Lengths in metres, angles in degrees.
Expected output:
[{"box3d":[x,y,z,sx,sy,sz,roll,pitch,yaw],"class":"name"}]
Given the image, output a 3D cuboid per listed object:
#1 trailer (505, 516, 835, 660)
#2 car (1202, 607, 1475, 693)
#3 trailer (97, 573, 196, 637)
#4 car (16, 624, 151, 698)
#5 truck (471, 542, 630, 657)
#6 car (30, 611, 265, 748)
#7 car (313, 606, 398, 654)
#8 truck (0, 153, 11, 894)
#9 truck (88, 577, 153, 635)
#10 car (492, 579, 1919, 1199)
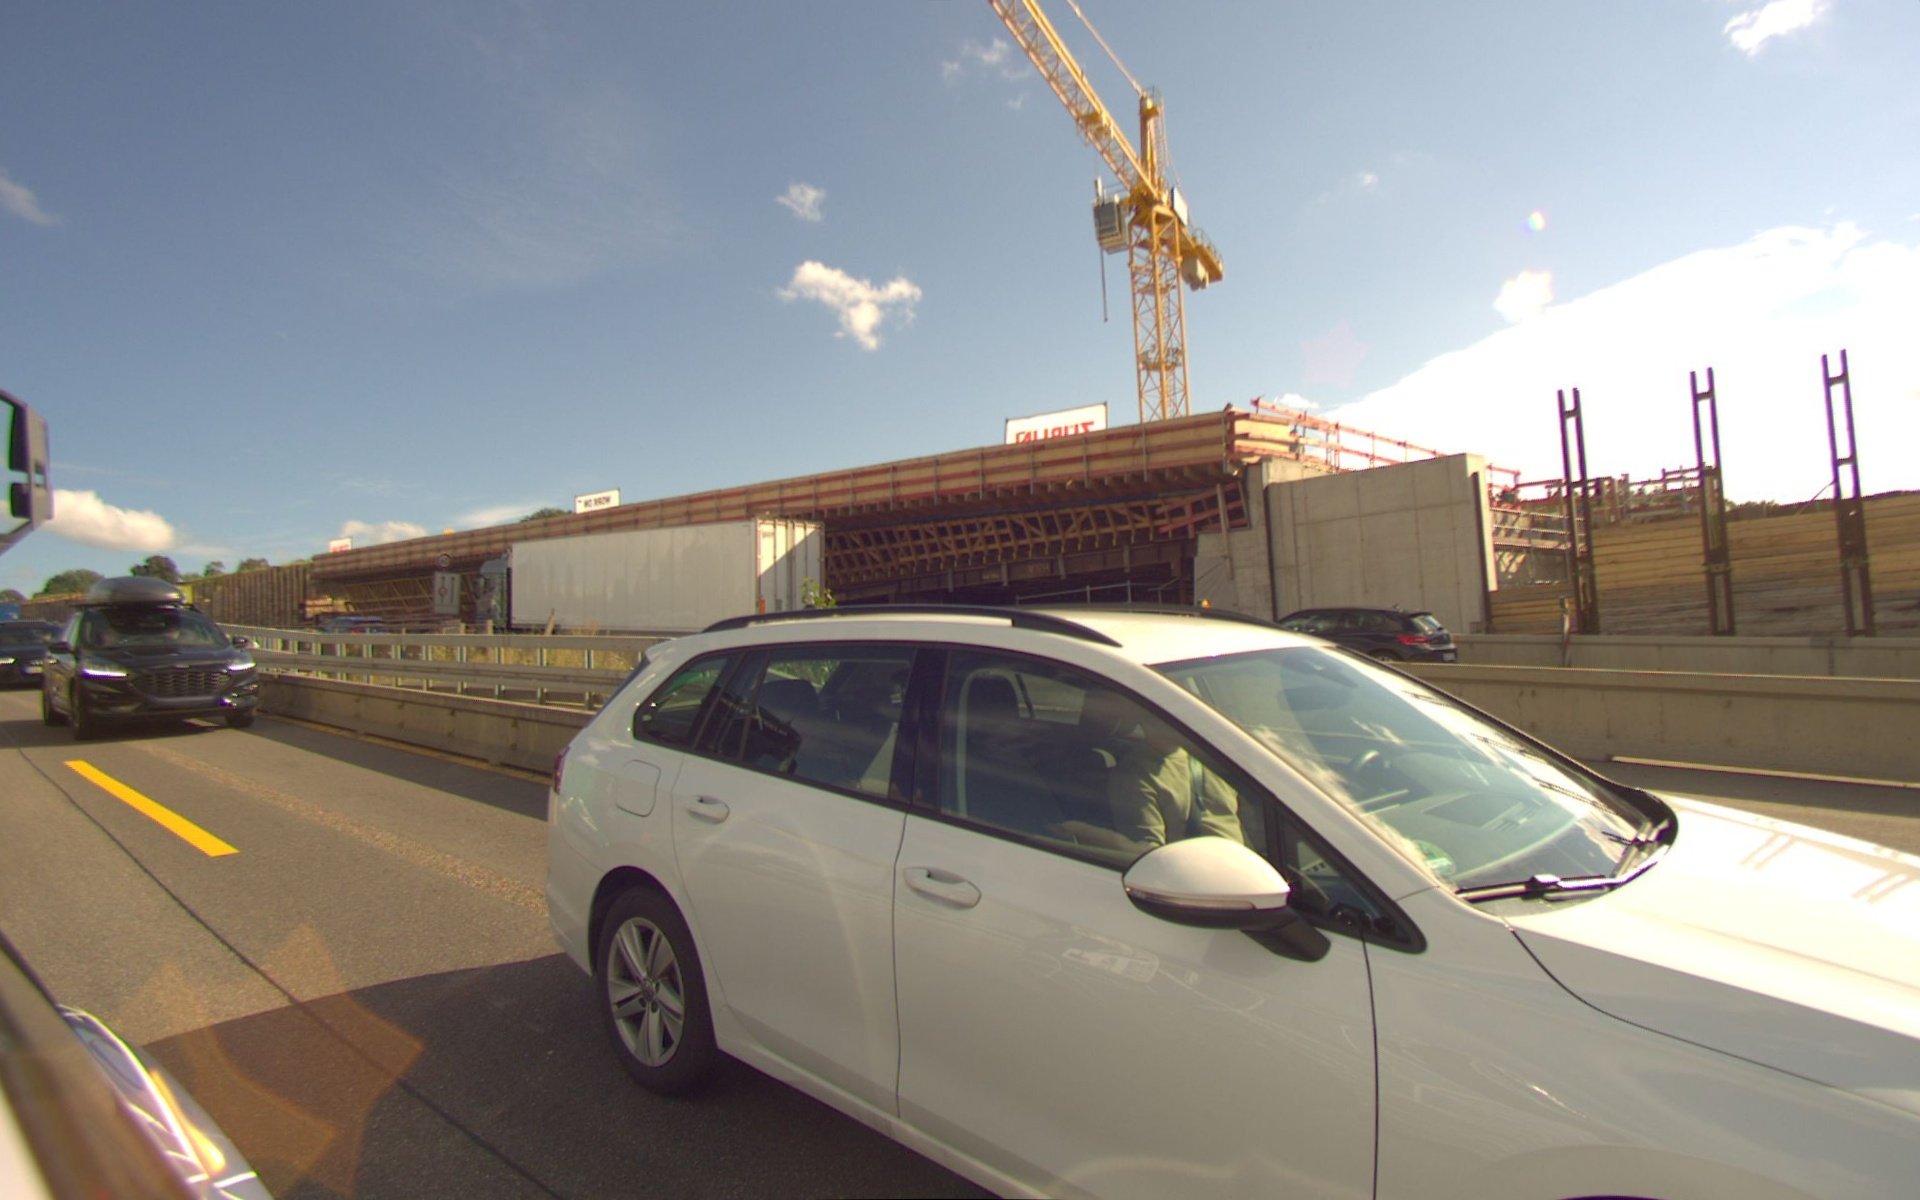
[{"box3d":[-9.852,-0.281,32.560,13.788,3.870,2.793,-1,0,39],"class":"trailer"},{"box3d":[6.452,0.777,17.539,1.897,1.282,4.004,-1,0,-43],"class":"car"},{"box3d":[-57.690,0.400,71.549,13.798,4.187,2.661,-1,0,39],"class":"trailer"},{"box3d":[-20.447,1.333,23.552,4.505,1.441,1.923,0,0,43],"class":"car"},{"box3d":[-14.885,-0.002,36.634,6.011,3.817,2.750,-1,0,39],"class":"truck"},{"box3d":[-11.093,0.936,13.702,4.383,1.554,1.780,0,-1,42],"class":"car"},{"box3d":[-23.798,1.145,39.778,1.970,1.739,4.125,-1,0,-44],"class":"car"},{"box3d":[-9.782,-0.348,7.594,10.308,3.876,2.630,-1,0,40],"class":"truck"},{"box3d":[-62.997,0.467,75.909,5.964,4.168,2.685,-1,0,39],"class":"truck"},{"box3d":[0.585,0.746,2.740,4.516,1.502,1.751,0,-1,43],"class":"car"}]
